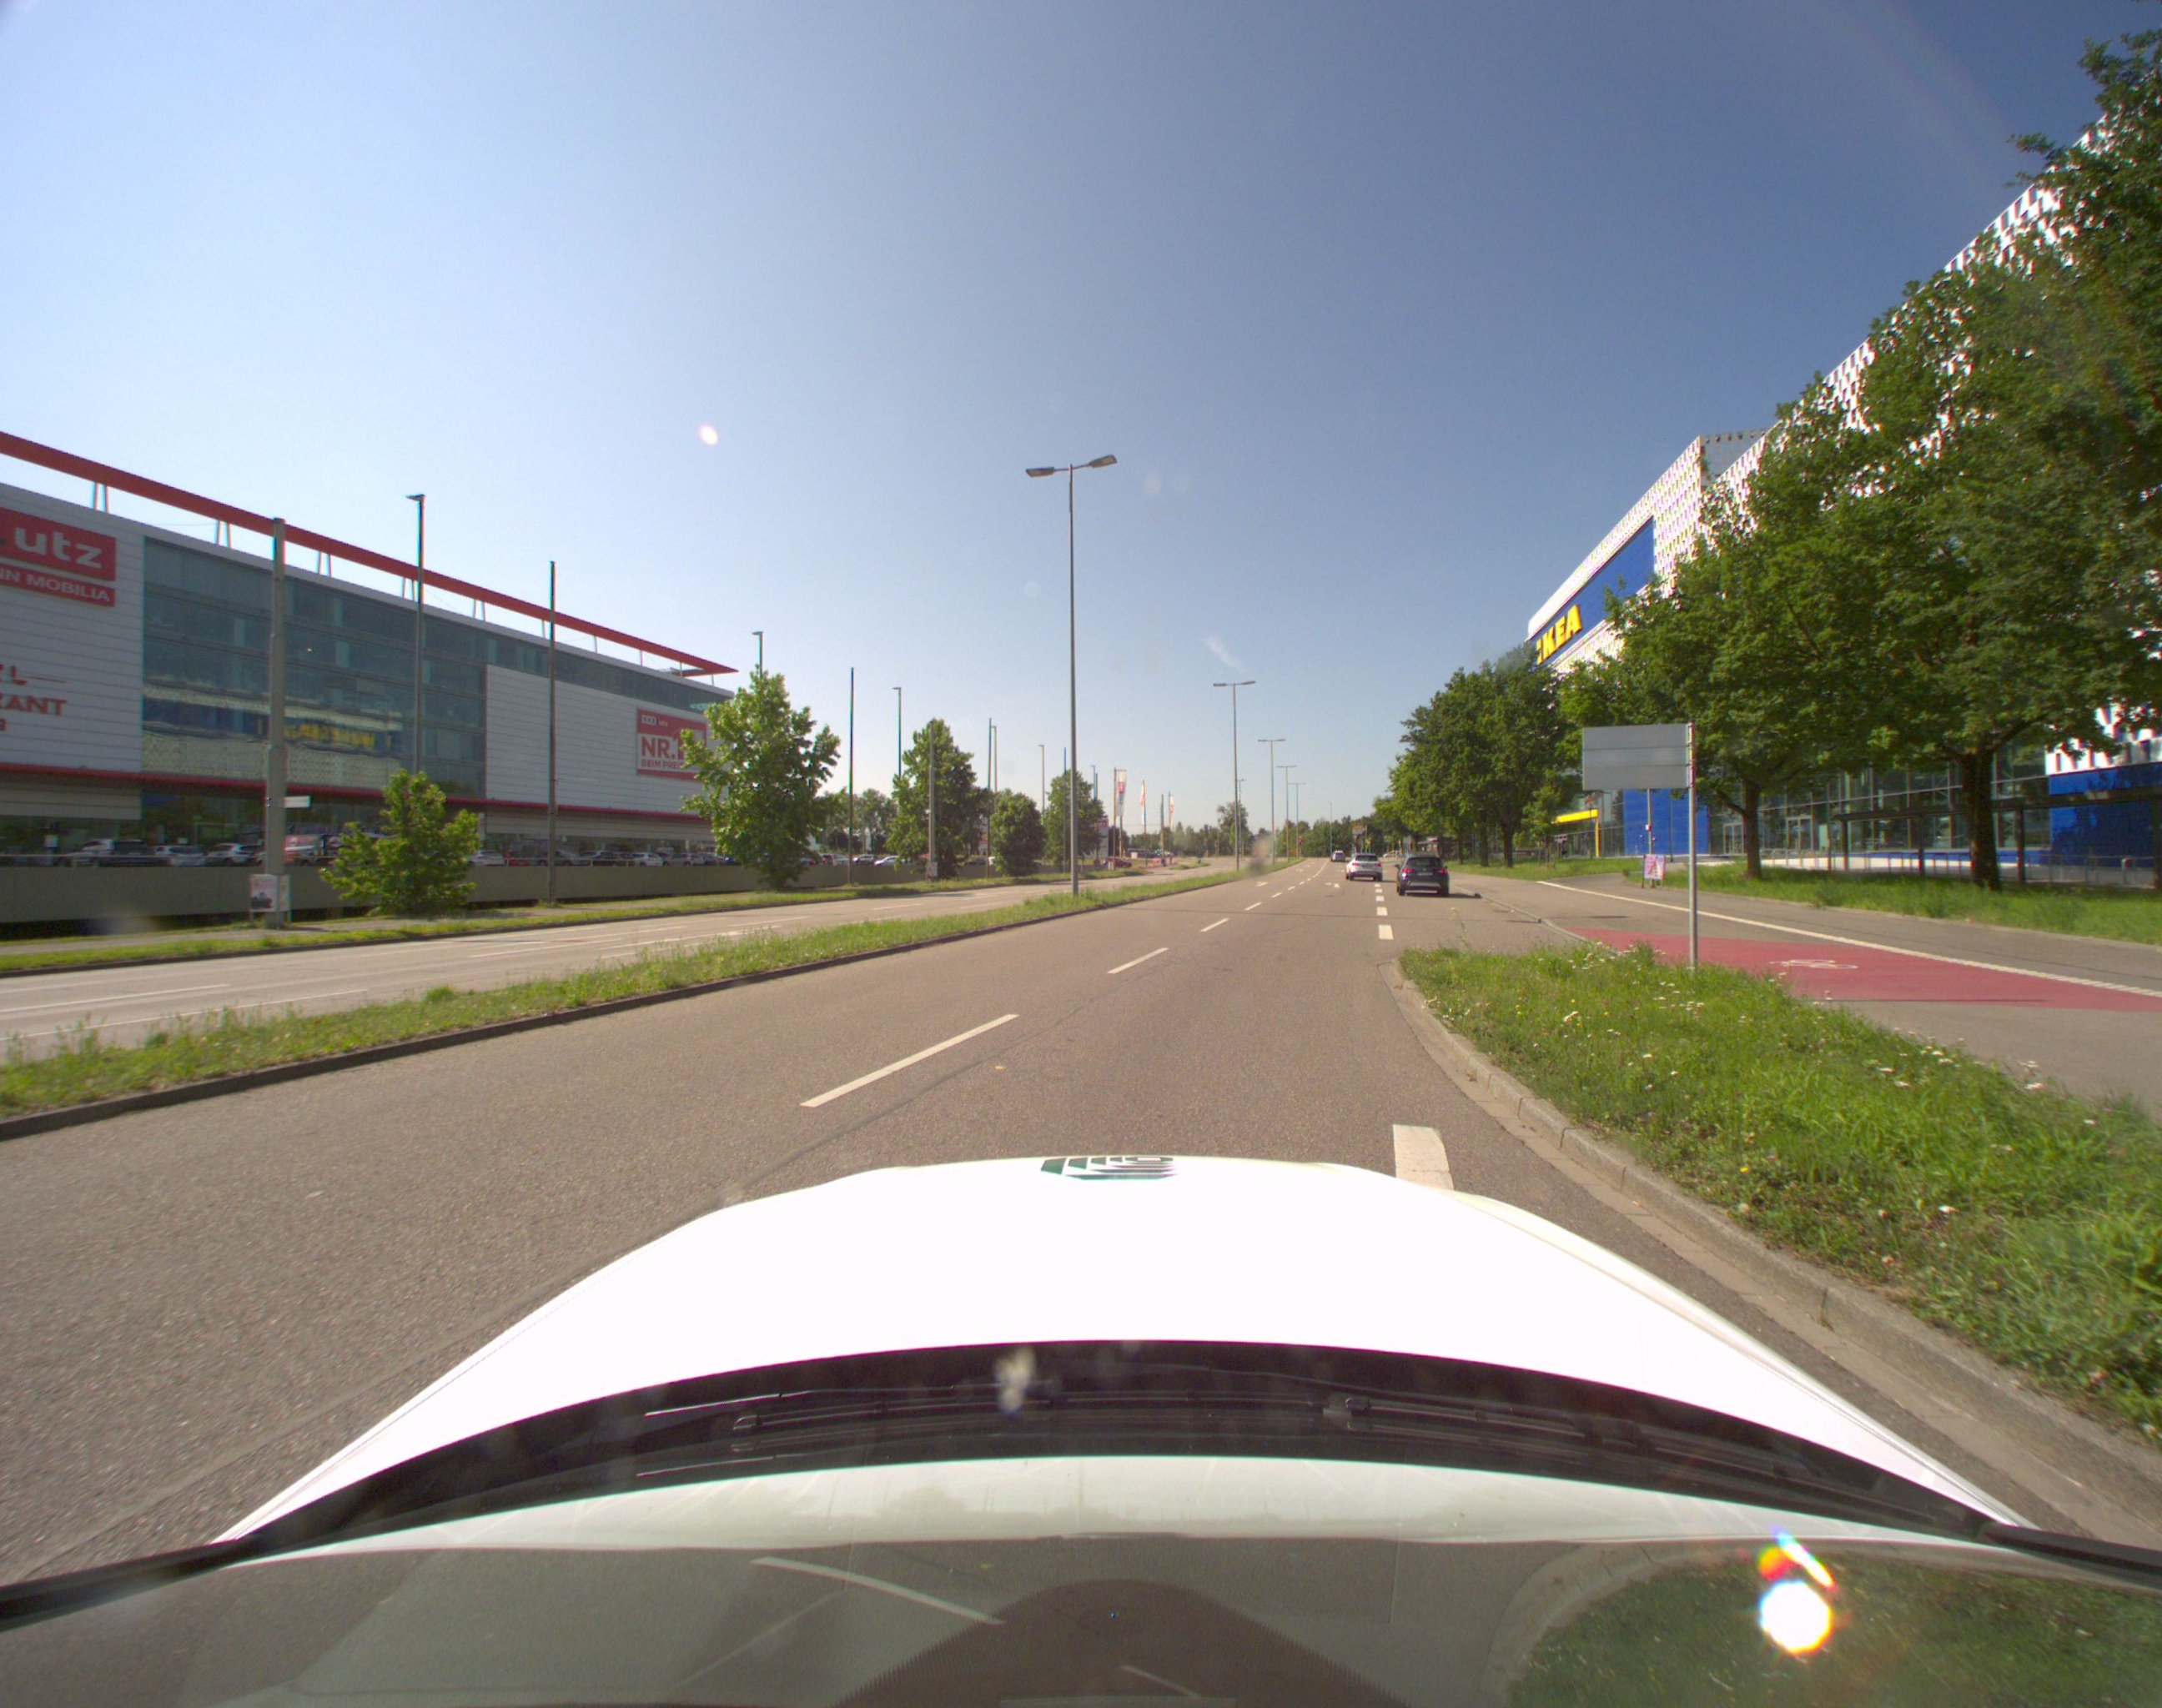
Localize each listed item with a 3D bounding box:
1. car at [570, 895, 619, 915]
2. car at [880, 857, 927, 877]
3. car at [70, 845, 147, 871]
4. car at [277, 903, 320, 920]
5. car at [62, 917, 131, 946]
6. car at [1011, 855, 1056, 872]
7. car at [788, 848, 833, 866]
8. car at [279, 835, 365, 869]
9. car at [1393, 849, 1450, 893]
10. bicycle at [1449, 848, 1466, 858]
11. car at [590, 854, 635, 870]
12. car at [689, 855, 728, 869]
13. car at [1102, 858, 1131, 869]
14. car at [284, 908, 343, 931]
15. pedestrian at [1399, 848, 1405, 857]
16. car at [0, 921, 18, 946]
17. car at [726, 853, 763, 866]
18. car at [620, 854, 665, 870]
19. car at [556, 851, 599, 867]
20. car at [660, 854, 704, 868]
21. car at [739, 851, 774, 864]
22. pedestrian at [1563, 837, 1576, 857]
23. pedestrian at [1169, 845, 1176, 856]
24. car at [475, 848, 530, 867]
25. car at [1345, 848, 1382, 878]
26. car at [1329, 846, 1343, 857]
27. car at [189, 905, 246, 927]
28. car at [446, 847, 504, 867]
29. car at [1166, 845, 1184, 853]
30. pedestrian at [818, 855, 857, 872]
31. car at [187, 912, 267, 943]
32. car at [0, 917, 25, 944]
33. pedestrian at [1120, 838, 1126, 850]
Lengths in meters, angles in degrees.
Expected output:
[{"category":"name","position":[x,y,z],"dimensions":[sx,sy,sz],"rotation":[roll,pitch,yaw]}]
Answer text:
[{"category":"car","position":[-25.138,2.618,42.097],"dimensions":[1.923,0.975,1.075],"rotation":[-1,-1,14]},{"category":"car","position":[-19.806,1.451,91.032],"dimensions":[4.636,2.013,2.037],"rotation":[-2,0,13]},{"category":"car","position":[-51.677,0.223,43.278],"dimensions":[2.988,1.330,1.522],"rotation":[-1,-1,16]},{"category":"car","position":[-46.992,3.438,48.911],"dimensions":[1.923,0.975,0.925],"rotation":[-1,-1,14]},{"category":"car","position":[-37.198,2.919,30.778],"dimensions":[1.923,0.975,0.914],"rotation":[-1,-1,14]},{"category":"car","position":[-5.191,1.043,89.013],"dimensions":[4.378,1.842,1.954],"rotation":[-1,-1,16]},{"category":"car","position":[-16.781,0.193,50.551],"dimensions":[2.495,1.059,1.075],"rotation":[-1,-1,14]},{"category":"car","position":[-36.168,-0.092,38.820],"dimensions":[2.746,1.556,1.782],"rotation":[-1,0,16]},{"category":"car","position":[12.651,0.598,30.410],"dimensions":[1.657,1.523,3.392],"rotation":[0,0,18]},{"category":"bicycle","position":[43.305,-0.108,93.723],"dimensions":[1.744,1.096,0.454],"rotation":[-1,0,17]},{"category":"car","position":[-38.974,0.676,67.825],"dimensions":[3.064,1.330,1.522],"rotation":[-1,-1,16]},{"category":"car","position":[-35.296,0.768,77.132],"dimensions":[3.064,1.330,1.522],"rotation":[-1,-1,16]},{"category":"car","position":[5.411,1.415,124.654],"dimensions":[4.155,1.605,1.833],"rotation":[0,-1,12]},{"category":"car","position":[-35.019,2.975,37.166],"dimensions":[1.923,0.975,1.075],"rotation":[-1,-1,14]},{"category":"pedestrian","position":[54.236,-0.205,137.681],"dimensions":[0.765,1.510,1.014],"rotation":[-1,1,28]},{"category":"car","position":[-44.634,3.229,33.080],"dimensions":[1.923,0.975,1.075],"rotation":[-1,-1,14]},{"category":"car","position":[-33.763,0.553,81.760],"dimensions":[3.064,1.294,1.522],"rotation":[-1,-1,16]},{"category":"car","position":[-37.853,0.703,70.252],"dimensions":[3.064,1.330,1.711],"rotation":[-1,-1,16]},{"category":"car","position":[-42.992,0.408,69.516],"dimensions":[3.111,1.330,1.306],"rotation":[-1,-1,16]},{"category":"car","position":[-36.366,0.657,74.326],"dimensions":[3.472,1.199,1.487],"rotation":[-1,-1,16]},{"category":"car","position":[-33.447,0.363,83.877],"dimensions":[3.064,1.330,1.522],"rotation":[-1,-1,16]},{"category":"pedestrian","position":[40.384,-0.556,67.377],"dimensions":[0.683,1.612,0.774],"rotation":[-2,0,13]},{"category":"pedestrian","position":[15.648,-0.607,139.203],"dimensions":[0.832,1.707,0.911],"rotation":[-2,0,29]},{"category":"car","position":[-41.835,0.268,58.911],"dimensions":[3.189,1.330,1.522],"rotation":[-1,-1,16]},{"category":"car","position":[15.683,0.459,45.360],"dimensions":[1.619,1.497,3.885],"rotation":[0,2,14]},{"category":"car","position":[36.247,-0.370,115.814],"dimensions":[1.693,1.573,4.192],"rotation":[-2,0,16]},{"category":"car","position":[-42.424,3.042,40.017],"dimensions":[1.923,0.975,1.075],"rotation":[-1,-1,14]},{"category":"car","position":[-41.795,0.220,56.198],"dimensions":[3.189,1.330,1.522],"rotation":[-1,-1,16]},{"category":"car","position":[18.309,-1.009,157.899],"dimensions":[3.320,1.500,1.414],"rotation":[0,-1,13]},{"category":"pedestrian","position":[-29.350,1.142,98.283],"dimensions":[4.022,2.014,1.976],"rotation":[1,-2,-42]},{"category":"car","position":[-29.627,2.525,28.275],"dimensions":[1.923,0.975,1.075],"rotation":[-1,-1,14]},{"category":"car","position":[-27.194,1.889,20.079],"dimensions":[1.548,0.620,0.861],"rotation":[-1,-1,14]},{"category":"pedestrian","position":[7.392,-1.752,143.548],"dimensions":[0.710,1.972,0.922],"rotation":[-1,-1,21]}]
